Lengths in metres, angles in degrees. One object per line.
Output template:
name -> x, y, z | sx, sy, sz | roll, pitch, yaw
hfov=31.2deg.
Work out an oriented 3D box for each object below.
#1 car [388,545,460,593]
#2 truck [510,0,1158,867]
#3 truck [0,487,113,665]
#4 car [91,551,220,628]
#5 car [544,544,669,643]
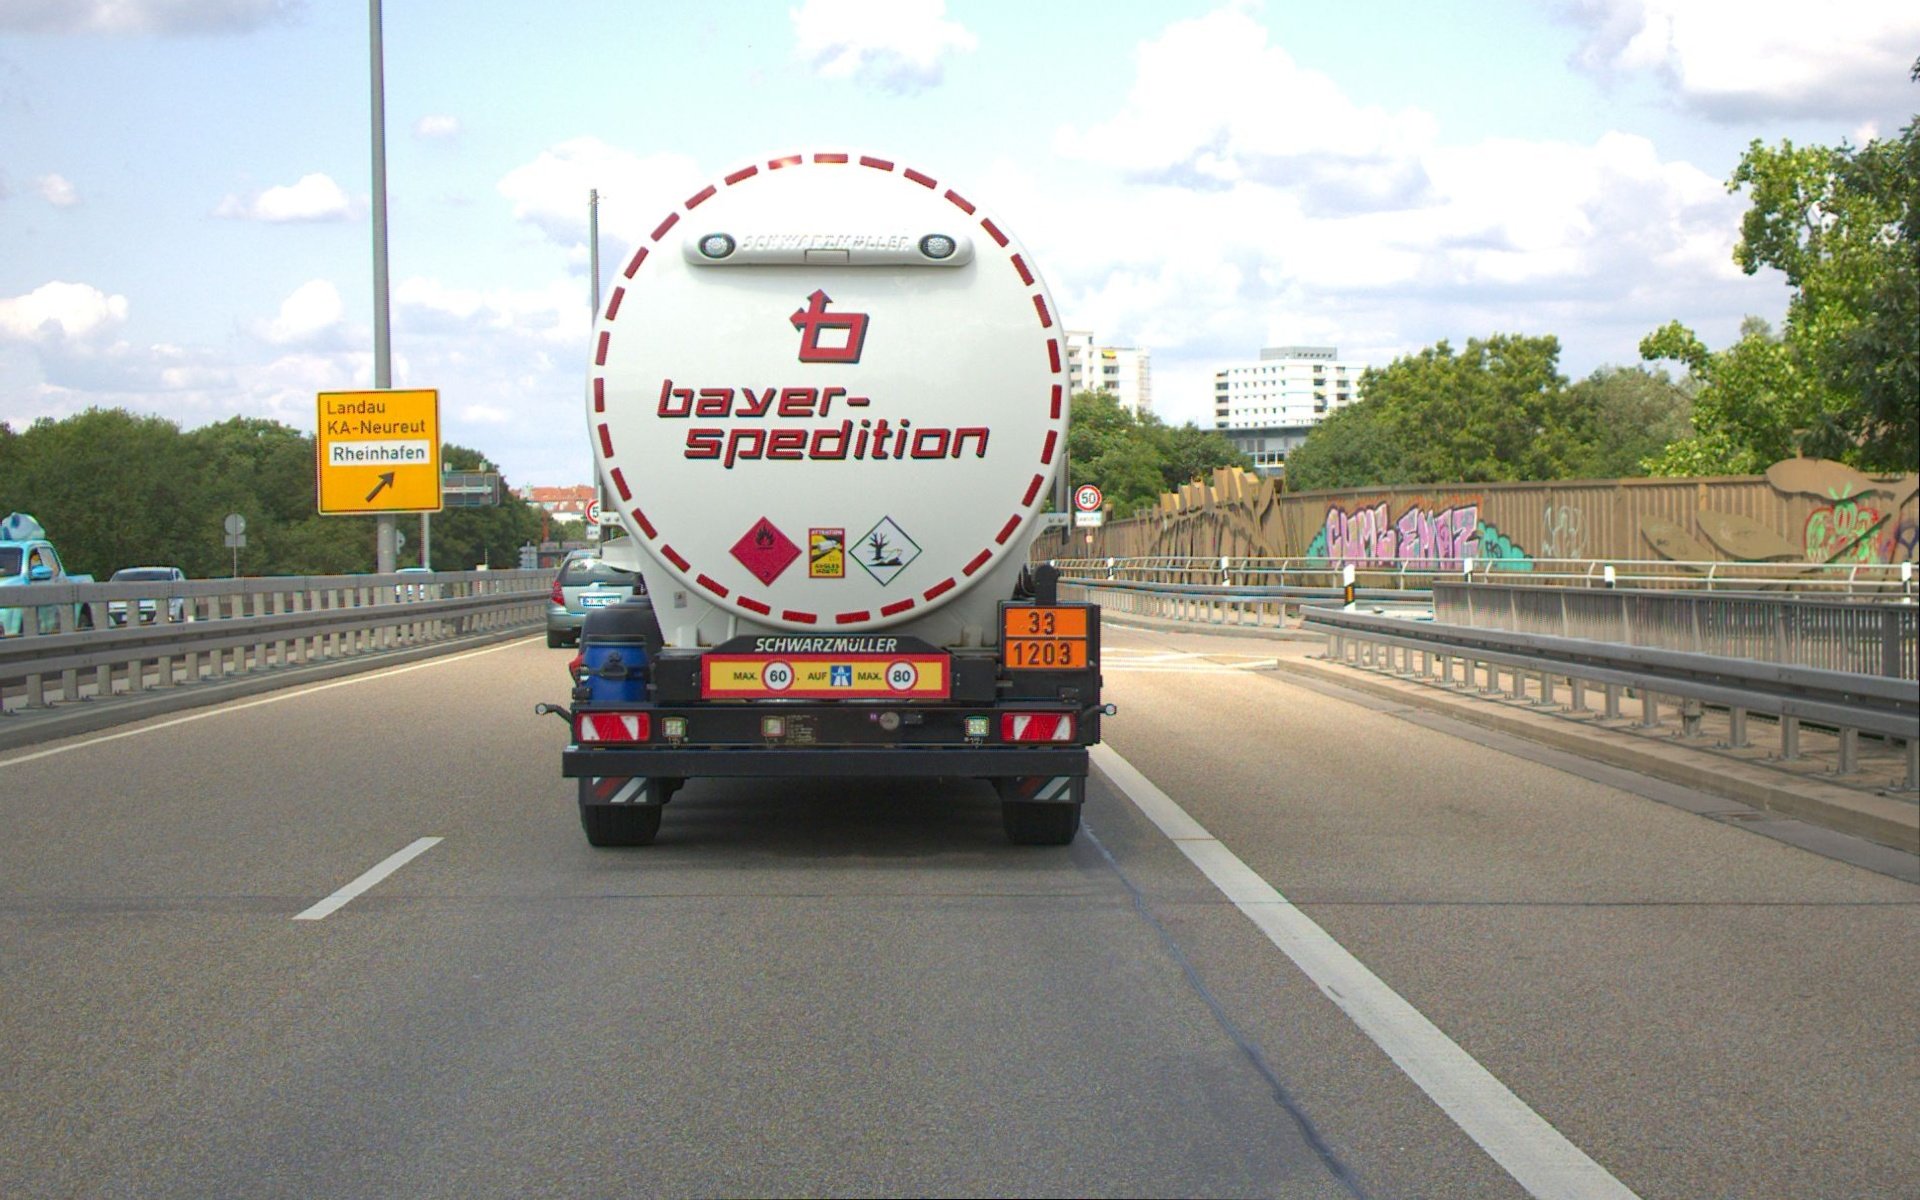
car -> -18.616, -1.087, 119.587 | 1.797, 1.590, 4.712 | 1, 1, -1
truck -> -0.711, -1.034, 19.634 | 2.895, 4.354, 8.030 | 1, 1, -2
truck -> -12.608, -0.337, 44.724 | 1.873, 2.179, 5.188 | 1, 1, 0
car -> -16.705, -0.233, 71.536 | 1.902, 1.524, 4.244 | 1, 1, -3
car -> -5.748, -0.136, 56.281 | 1.747, 1.526, 4.001 | 0, 1, -2
